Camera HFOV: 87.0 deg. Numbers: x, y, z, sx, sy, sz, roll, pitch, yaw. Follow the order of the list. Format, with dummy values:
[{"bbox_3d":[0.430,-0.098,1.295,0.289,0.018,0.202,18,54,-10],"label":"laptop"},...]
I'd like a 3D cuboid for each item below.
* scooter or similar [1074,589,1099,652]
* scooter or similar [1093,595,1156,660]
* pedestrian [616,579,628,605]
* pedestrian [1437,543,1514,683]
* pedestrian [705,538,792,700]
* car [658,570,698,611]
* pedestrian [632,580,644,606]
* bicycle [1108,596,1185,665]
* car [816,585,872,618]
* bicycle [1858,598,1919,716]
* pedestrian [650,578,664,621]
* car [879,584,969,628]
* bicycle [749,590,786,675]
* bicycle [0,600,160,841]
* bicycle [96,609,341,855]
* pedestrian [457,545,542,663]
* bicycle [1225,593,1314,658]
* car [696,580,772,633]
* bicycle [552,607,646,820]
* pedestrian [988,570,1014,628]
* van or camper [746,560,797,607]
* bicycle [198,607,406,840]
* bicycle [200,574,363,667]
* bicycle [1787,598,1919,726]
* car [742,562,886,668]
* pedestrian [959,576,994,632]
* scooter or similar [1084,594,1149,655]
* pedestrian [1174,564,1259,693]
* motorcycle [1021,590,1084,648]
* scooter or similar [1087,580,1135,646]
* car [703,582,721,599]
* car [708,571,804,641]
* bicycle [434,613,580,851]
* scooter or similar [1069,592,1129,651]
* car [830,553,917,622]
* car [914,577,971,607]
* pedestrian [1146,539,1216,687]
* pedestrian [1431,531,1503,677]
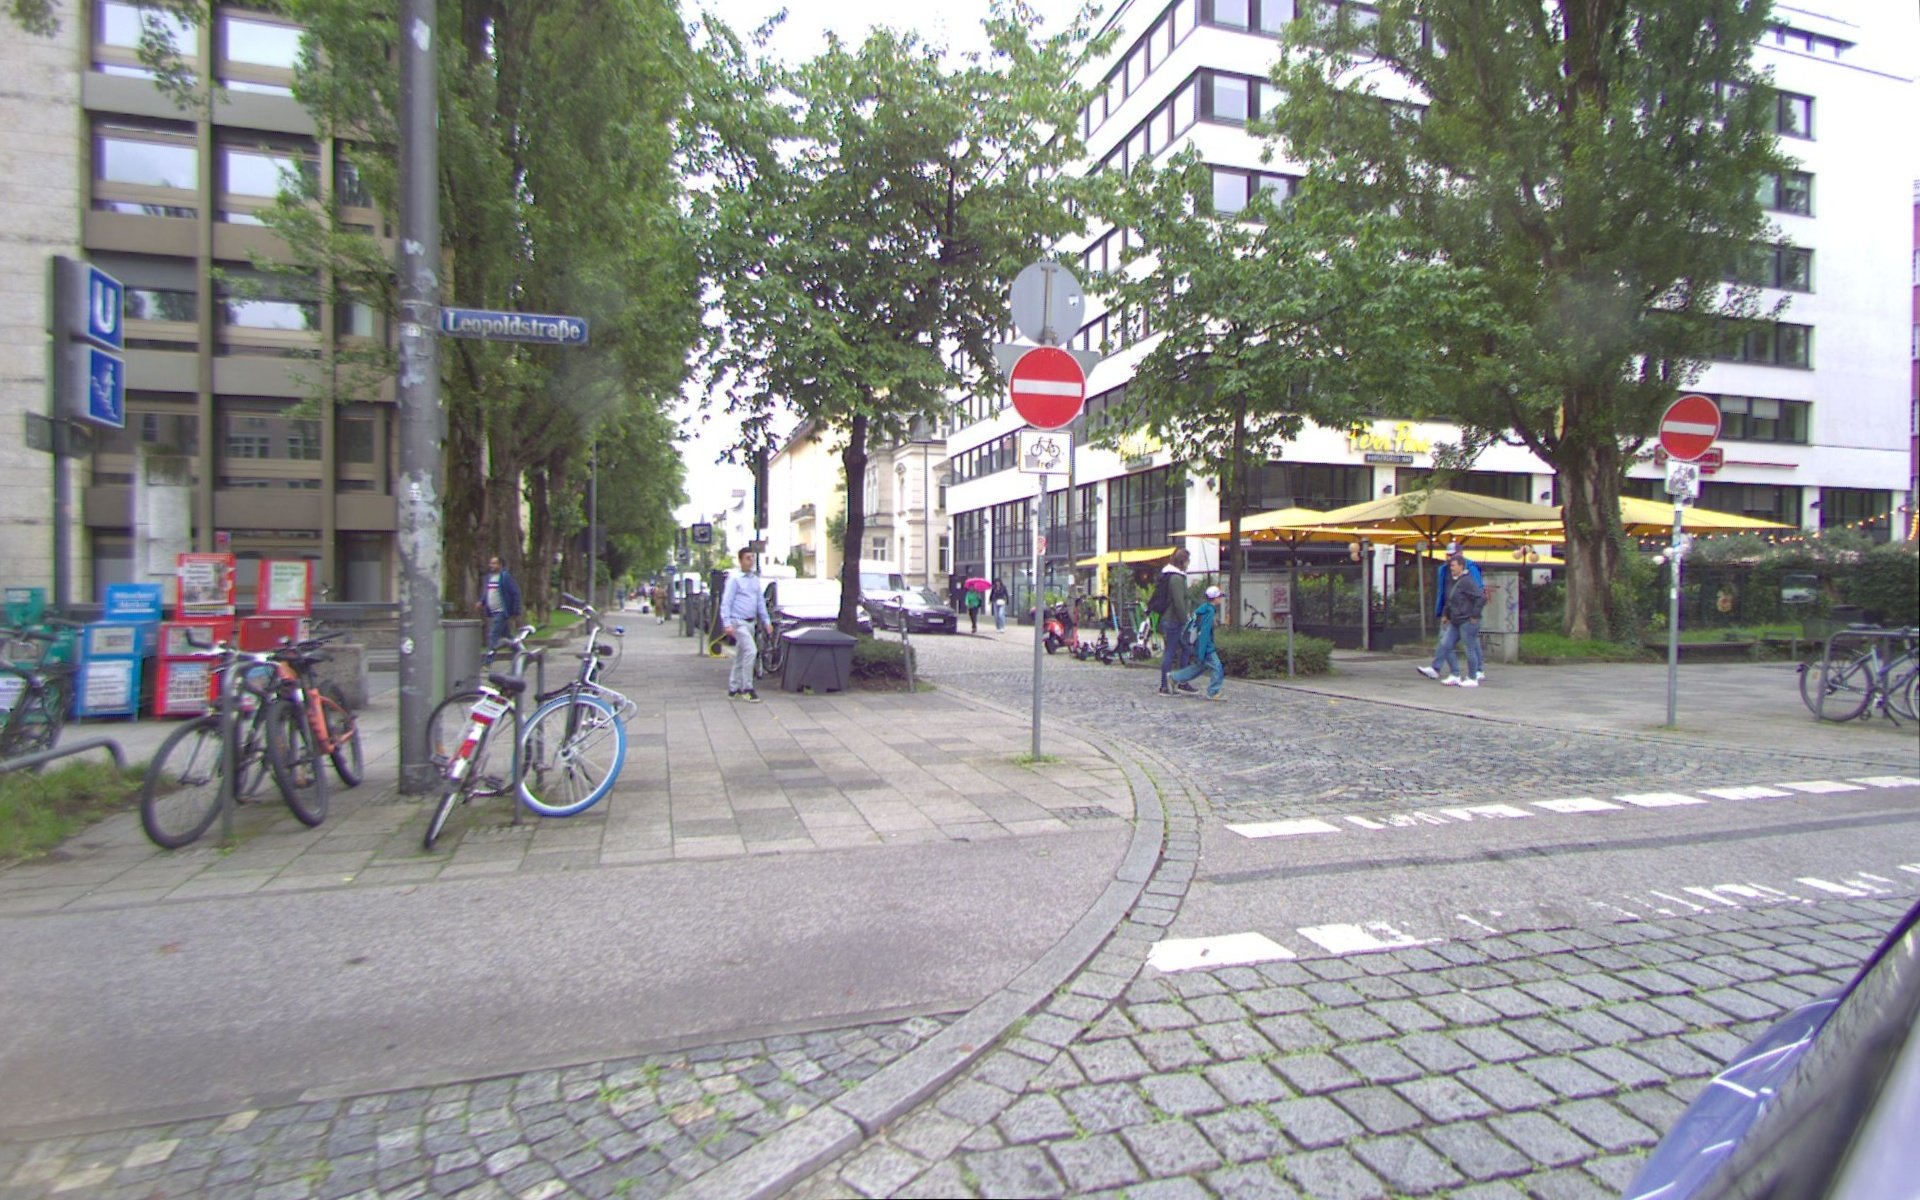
[{"bbox_3d":[2.707,0.424,21.640,0.323,1.289,1.350,0,0,16],"label":"scooter or similar"},{"bbox_3d":[3.102,0.492,19.000,1.405,1.158,0.369,-1,1,-41],"label":"scooter or similar"},{"bbox_3d":[-20.434,-0.493,61.118,0.535,1.549,0.530,-1,1,-41],"label":"pedestrian"},{"bbox_3d":[6.654,0.155,13.074,0.634,1.749,0.702,-1,1,-40],"label":"pedestrian"},{"bbox_3d":[-2.376,0.194,11.383,0.667,1.746,0.702,0,1,41],"label":"pedestrian"},{"bbox_3d":[-18.236,-0.658,65.272,2.045,2.462,5.623,-2,2,-19],"label":"car"},{"bbox_3d":[-18.988,-0.420,59.749,0.632,1.556,0.710,0,0,-21],"label":"pedestrian"},{"bbox_3d":[3.386,0.519,18.297,0.552,1.157,1.736,0,1,42],"label":"bicycle"},{"bbox_3d":[-5.368,0.020,46.277,1.958,1.448,4.009,0,1,-15],"label":"car"},{"bbox_3d":[9.415,0.550,9.363,0.481,1.107,1.706,0,1,-12],"label":"bicycle"},{"bbox_3d":[-11.896,-0.032,39.703,0.480,1.648,0.569,0,1,-14],"label":"pedestrian"},{"bbox_3d":[-1.277,0.155,33.371,1.958,1.346,4.125,0,1,-17],"label":"car"},{"bbox_3d":[-2.790,0.433,14.768,0.466,1.151,1.879,0,1,-9],"label":"bicycle"},{"bbox_3d":[-5.104,0.590,5.509,0.502,1.119,1.935,0,2,-17],"label":"bicycle"},{"bbox_3d":[-4.060,0.628,5.704,0.466,1.063,1.881,0,2,-15],"label":"bicycle"},{"bbox_3d":[-6.938,0.052,15.288,0.853,1.735,0.911,0,1,2],"label":"pedestrian"},{"bbox_3d":[5.327,0.414,17.543,0.542,1.035,1.767,0,1,-19],"label":"bicycle"},{"bbox_3d":[-7.501,0.147,33.276,1.958,1.602,4.351,-1,1,-19],"label":"car"},{"bbox_3d":[-2.290,0.608,6.318,0.466,1.063,1.880,0,1,-22],"label":"bicycle"},{"bbox_3d":[1.261,-0.043,31.115,0.564,1.770,0.652,0,1,-21],"label":"pedestrian"},{"bbox_3d":[-12.996,-1.145,69.454,2.413,3.085,7.333,0,1,-19],"label":"van or camper"},{"bbox_3d":[-3.776,0.617,5.960,0.466,1.063,1.881,0,2,-15],"label":"bicycle"},{"bbox_3d":[-9.871,0.275,14.799,1.830,1.292,0.723,-1,1,-16],"label":"bicycle"},{"bbox_3d":[8.638,0.553,9.275,0.481,1.107,1.706,0,1,-12],"label":"bicycle"},{"bbox_3d":[-2.854,0.199,18.964,1.886,1.721,4.211,-1,1,-19],"label":"car"},{"bbox_3d":[0.521,0.128,31.704,0.916,1.727,0.796,0,1,15],"label":"pedestrian"},{"bbox_3d":[3.065,0.478,19.840,1.225,1.158,0.328,-1,0,-17],"label":"scooter or similar"},{"bbox_3d":[2.947,0.309,11.697,0.756,1.437,0.819,0,1,-1],"label":"pedestrian"},{"bbox_3d":[2.066,0.402,22.330,0.763,1.211,1.974,1,0,24],"label":"motorcycle"},{"bbox_3d":[3.109,0.250,20.746,0.326,1.289,1.232,0,1,42],"label":"scooter or similar"},{"bbox_3d":[-36.887,-1.436,150.539,2.045,2.463,5.623,-1,1,-19],"label":"car"},{"bbox_3d":[-5.694,0.111,27.788,1.977,1.721,4.683,-1,1,-19],"label":"car"},{"bbox_3d":[-2.478,0.629,5.693,0.466,1.064,1.880,0,0,-15],"label":"bicycle"},{"bbox_3d":[2.930,0.435,21.358,1.246,1.195,0.384,0,1,42],"label":"scooter or similar"},{"bbox_3d":[-3.542,-0.522,40.113,2.022,2.522,5.862,1,1,-19],"label":"car"},{"bbox_3d":[-0.999,-0.449,55.364,1.873,1.552,4.178,0,1,-19],"label":"car"},{"bbox_3d":[2.626,0.146,12.062,0.677,1.722,0.664,0,0,-1],"label":"pedestrian"},{"bbox_3d":[6.955,0.048,13.878,0.634,1.932,0.702,-1,1,-40],"label":"pedestrian"}]
